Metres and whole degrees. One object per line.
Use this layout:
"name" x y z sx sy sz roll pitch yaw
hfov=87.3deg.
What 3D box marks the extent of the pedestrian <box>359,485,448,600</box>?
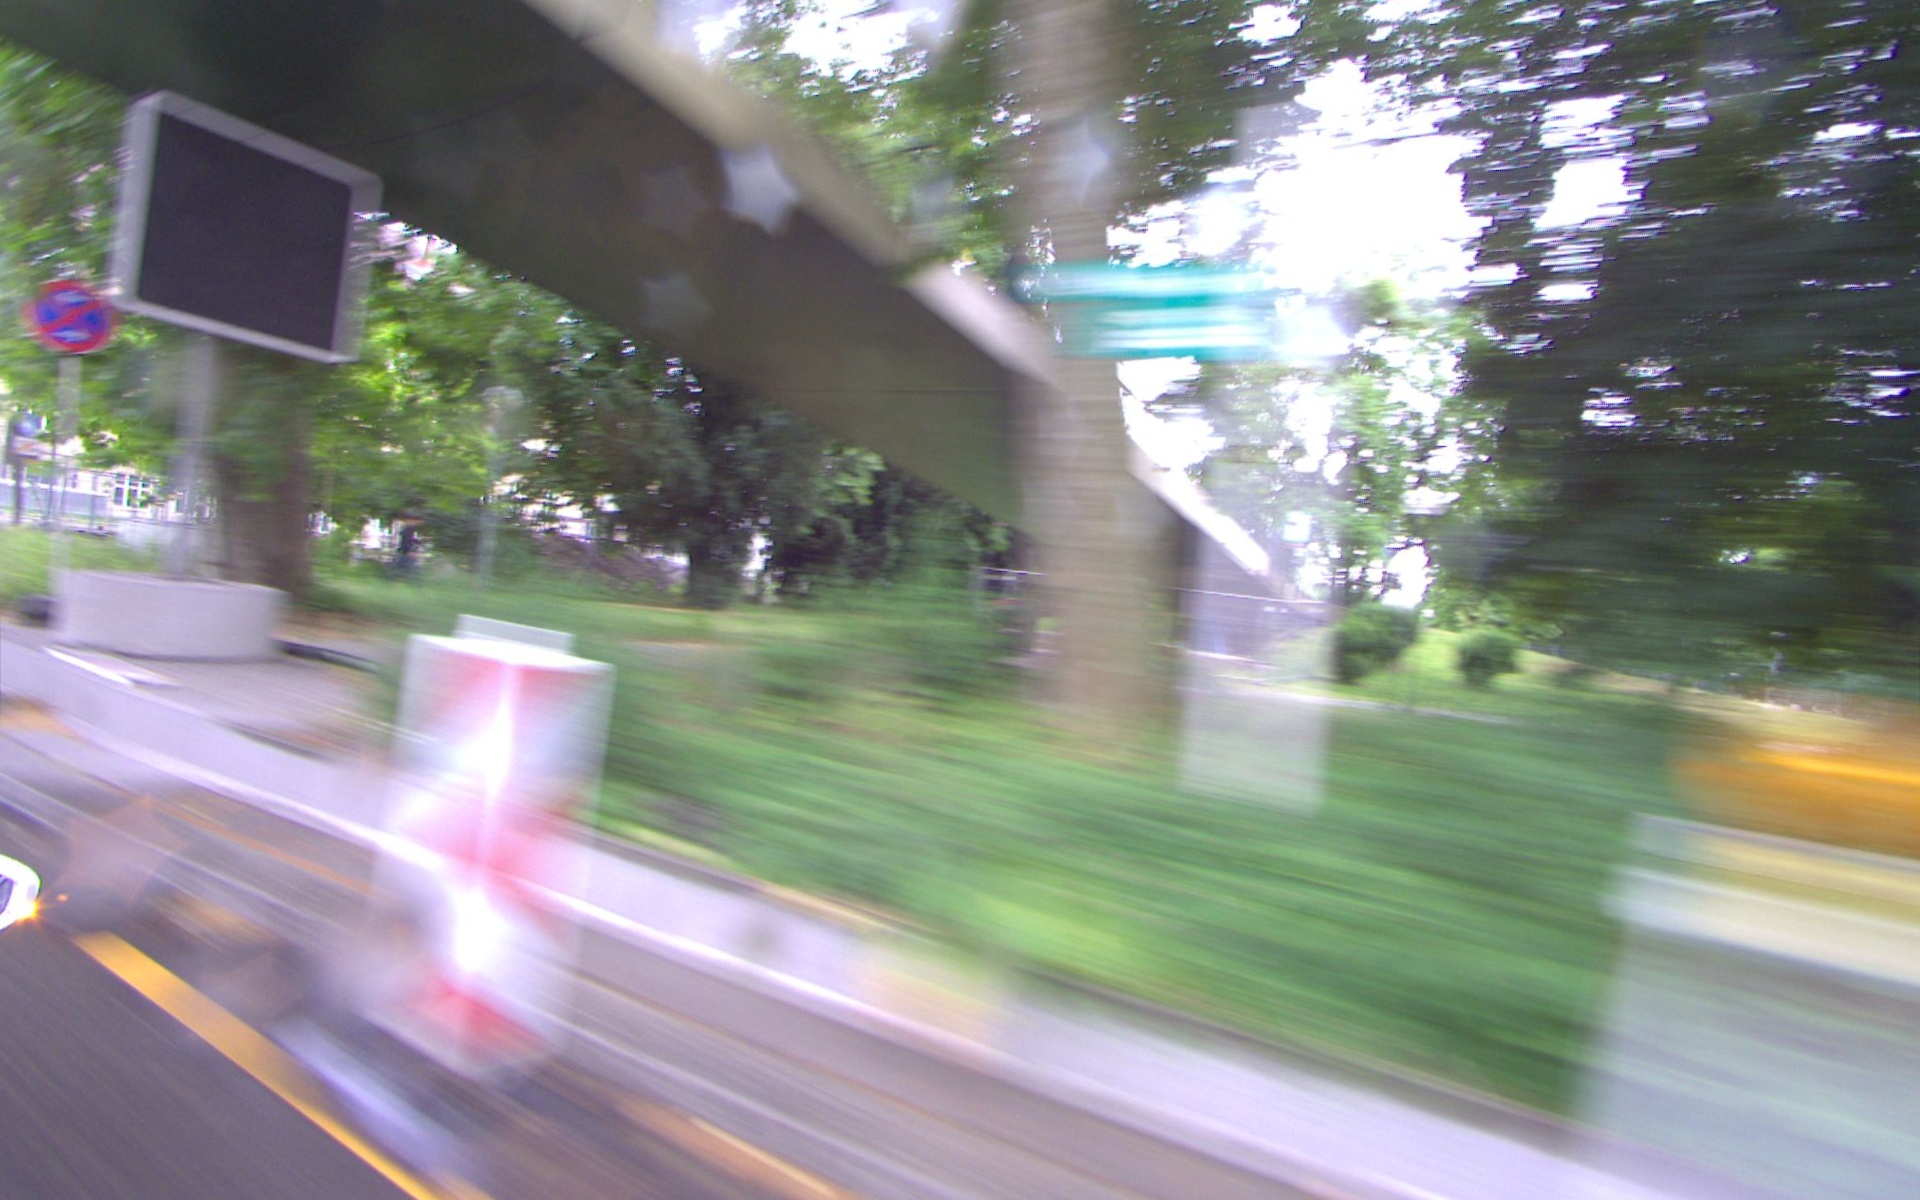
"pedestrian" -10.778 -1.092 19.532 1.021 2.039 1.050 7 1 -10
